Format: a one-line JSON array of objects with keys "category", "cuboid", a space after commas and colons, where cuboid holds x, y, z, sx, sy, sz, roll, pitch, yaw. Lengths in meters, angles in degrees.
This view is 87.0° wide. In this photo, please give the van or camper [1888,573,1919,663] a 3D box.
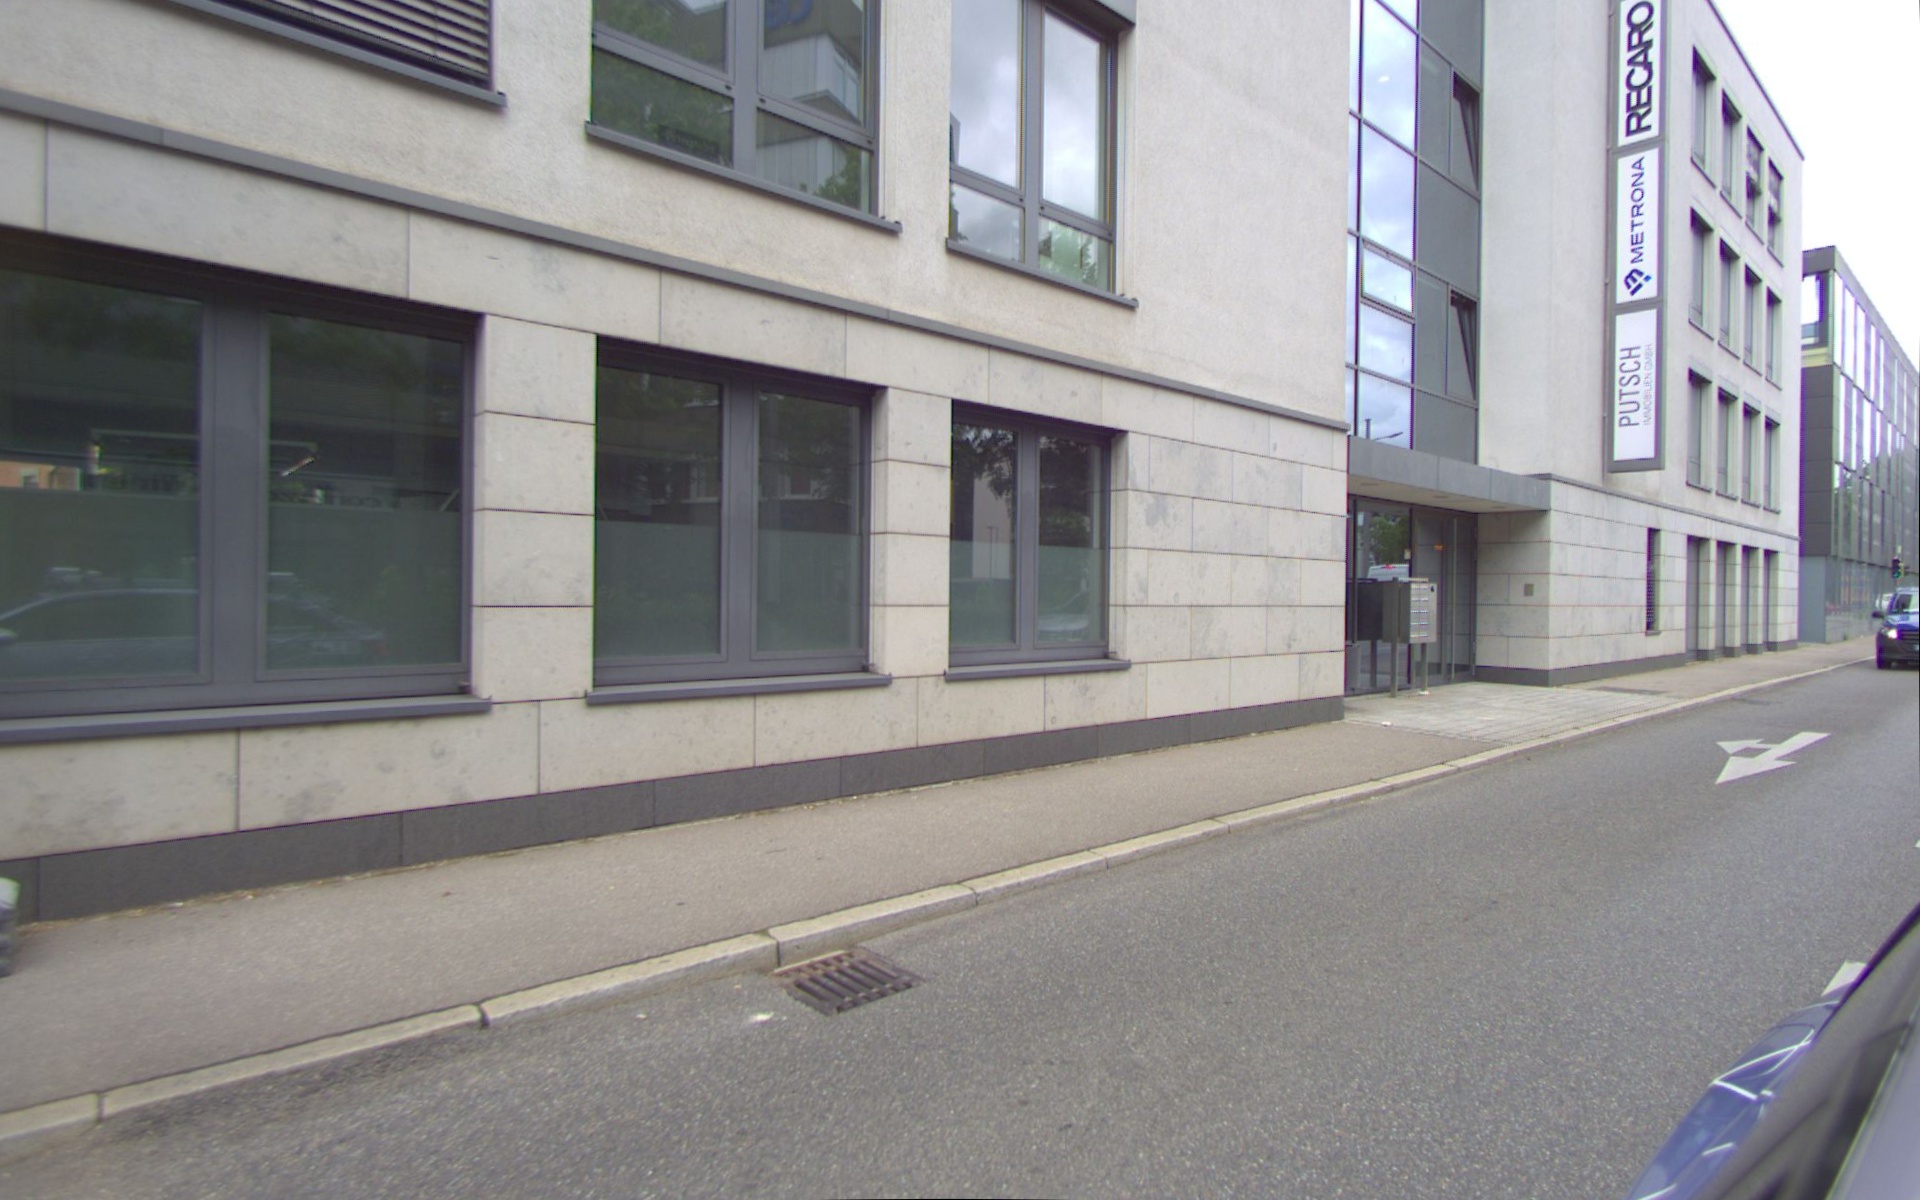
[{"category": "van or camper", "cuboid": [22.784, 0.388, 23.092, 4.944, 1.935, 1.863, 0, 1, -41]}]
